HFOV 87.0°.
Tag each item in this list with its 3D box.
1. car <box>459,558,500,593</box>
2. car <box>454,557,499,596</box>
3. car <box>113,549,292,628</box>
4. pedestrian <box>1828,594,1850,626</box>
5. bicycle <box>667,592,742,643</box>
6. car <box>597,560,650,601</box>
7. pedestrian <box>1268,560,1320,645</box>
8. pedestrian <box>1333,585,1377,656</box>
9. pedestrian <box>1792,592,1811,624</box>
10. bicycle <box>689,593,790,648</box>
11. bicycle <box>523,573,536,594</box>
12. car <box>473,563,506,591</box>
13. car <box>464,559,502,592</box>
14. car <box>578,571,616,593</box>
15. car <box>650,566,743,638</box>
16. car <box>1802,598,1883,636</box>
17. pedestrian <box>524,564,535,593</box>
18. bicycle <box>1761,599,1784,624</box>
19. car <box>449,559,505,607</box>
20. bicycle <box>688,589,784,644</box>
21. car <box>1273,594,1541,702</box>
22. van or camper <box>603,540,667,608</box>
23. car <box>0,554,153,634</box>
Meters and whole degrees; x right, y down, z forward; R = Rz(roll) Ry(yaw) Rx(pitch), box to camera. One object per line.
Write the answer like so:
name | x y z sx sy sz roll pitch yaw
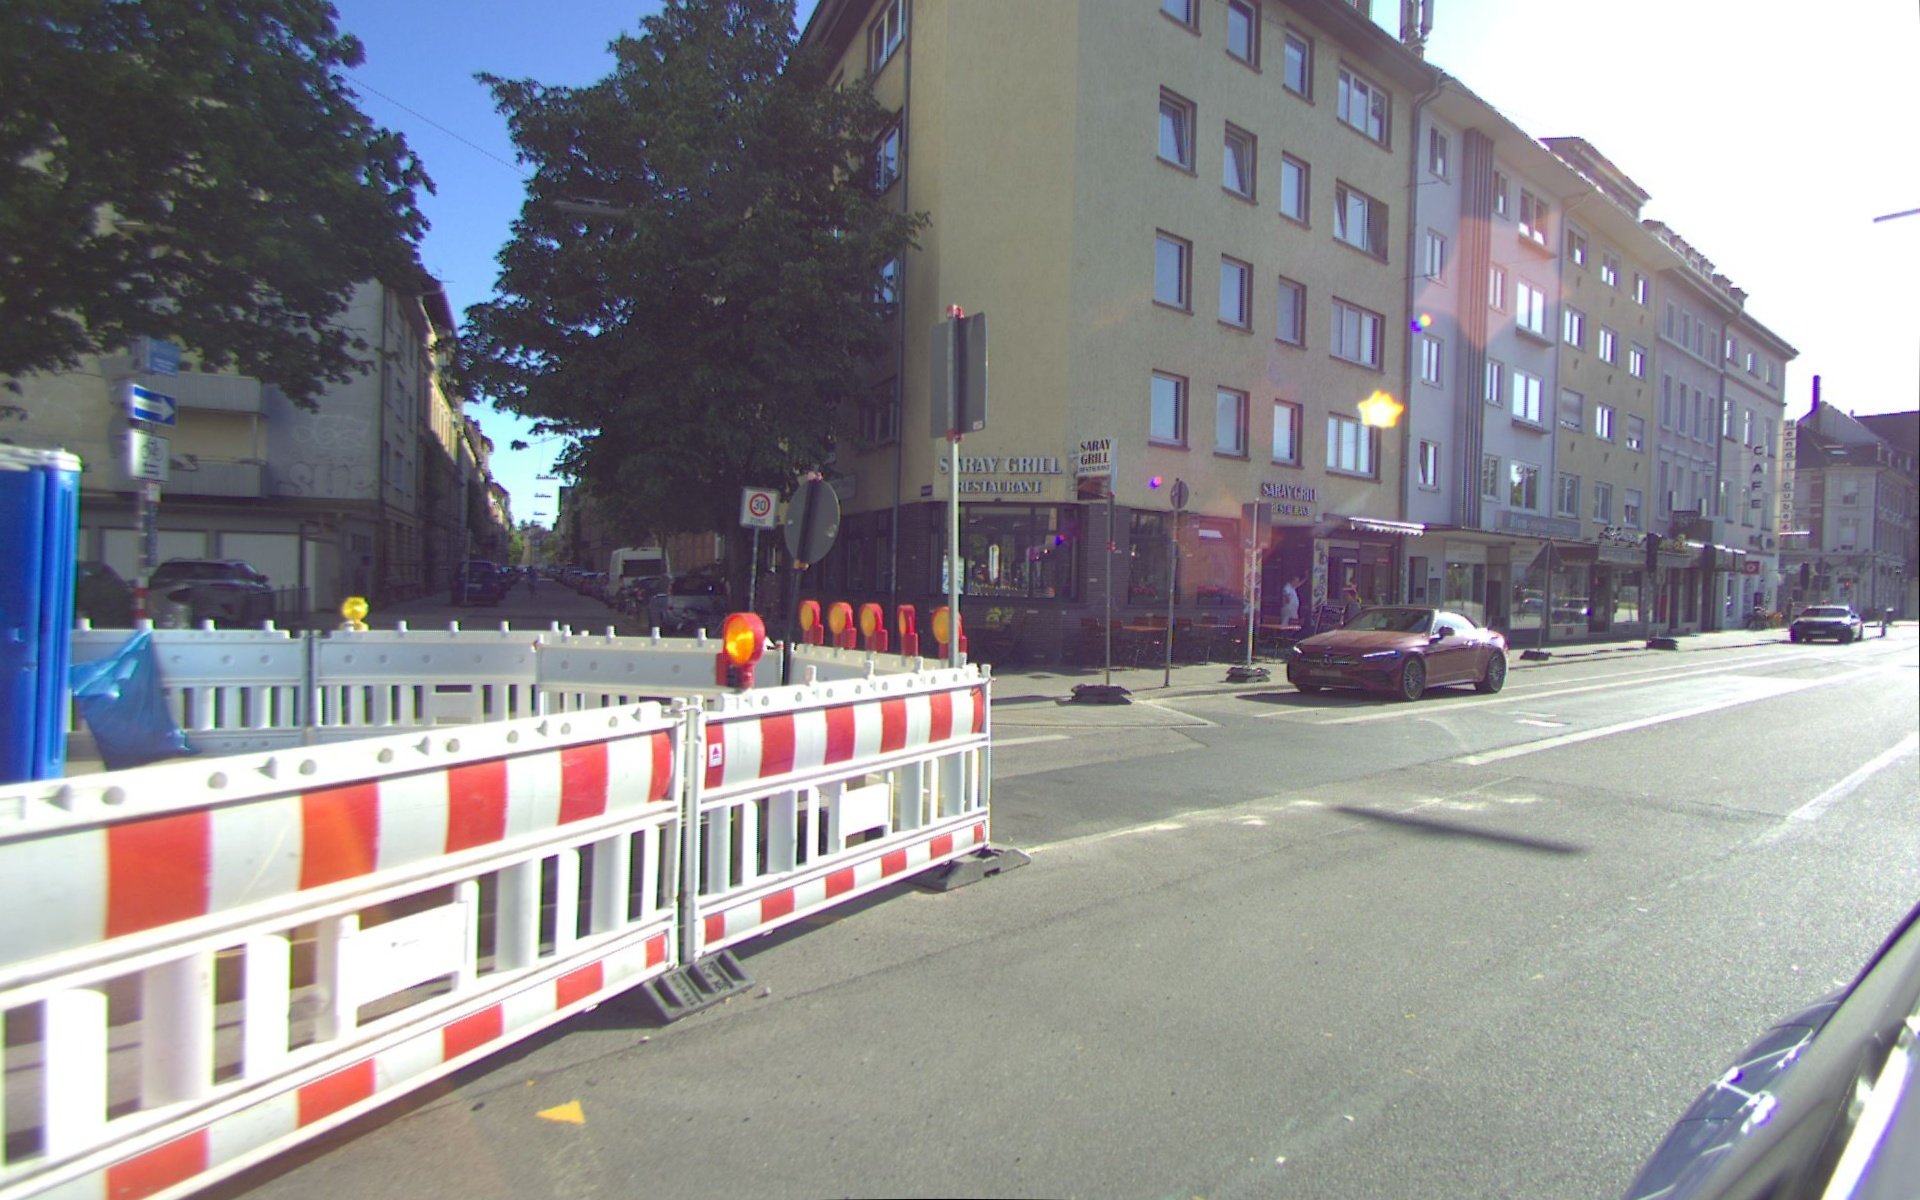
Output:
car | -27.080 -1.410 57.160 1.958 1.845 4.257 1 1 -24
car | -24.805 -1.229 52.037 1.958 1.845 4.257 1 1 -24
car | -16.102 -0.283 21.792 1.949 1.504 4.388 1 2 -21
pedestrian | 46.883 0.536 53.995 0.785 1.712 0.775 3 -1 -41
bicycle | -5.673 0.371 22.594 0.367 1.096 1.803 2 1 36
car | -16.351 -0.966 49.057 1.958 1.845 4.257 1 1 -24
pedestrian | 7.575 0.045 22.935 0.884 1.877 0.731 0 1 -38
pedestrian | 8.737 0.433 22.403 0.640 1.525 0.672 0 1 -40
pedestrian | 46.121 0.415 55.448 0.665 1.711 0.663 0 1 -41
bicycle | -4.371 0.409 20.141 1.905 1.017 0.370 2 1 -4
bicycle | -24.377 -0.929 57.317 0.552 1.146 1.660 1 1 -26
car | -32.423 -1.622 69.876 1.958 1.845 4.257 1 1 -24
car | -29.070 -1.504 61.775 1.958 1.845 4.257 1 1 -24
car | -23.474 -1.182 65.340 1.958 1.282 4.257 1 1 -24
car | -6.839 -0.005 25.980 1.958 1.662 4.258 2 1 -19
car | 35.315 0.640 40.441 4.636 1.448 1.902 0 0 -42
pedestrian | -24.364 -1.205 57.273 0.543 1.644 0.514 1 1 -26
bicycle | 38.367 0.512 47.822 0.693 1.122 1.842 1 1 35
car | -20.225 -0.740 42.414 1.959 1.845 4.256 1 1 -25
bicycle | -4.632 0.336 20.968 1.905 1.096 0.370 1 1 -4
car | 7.331 0.650 16.341 5.067 1.461 1.876 0 2 -40
van or camper | -13.342 -1.069 41.373 2.055 2.579 5.365 1 1 -22
car | -18.126 -0.171 20.254 2.049 1.436 4.288 0 1 -24
